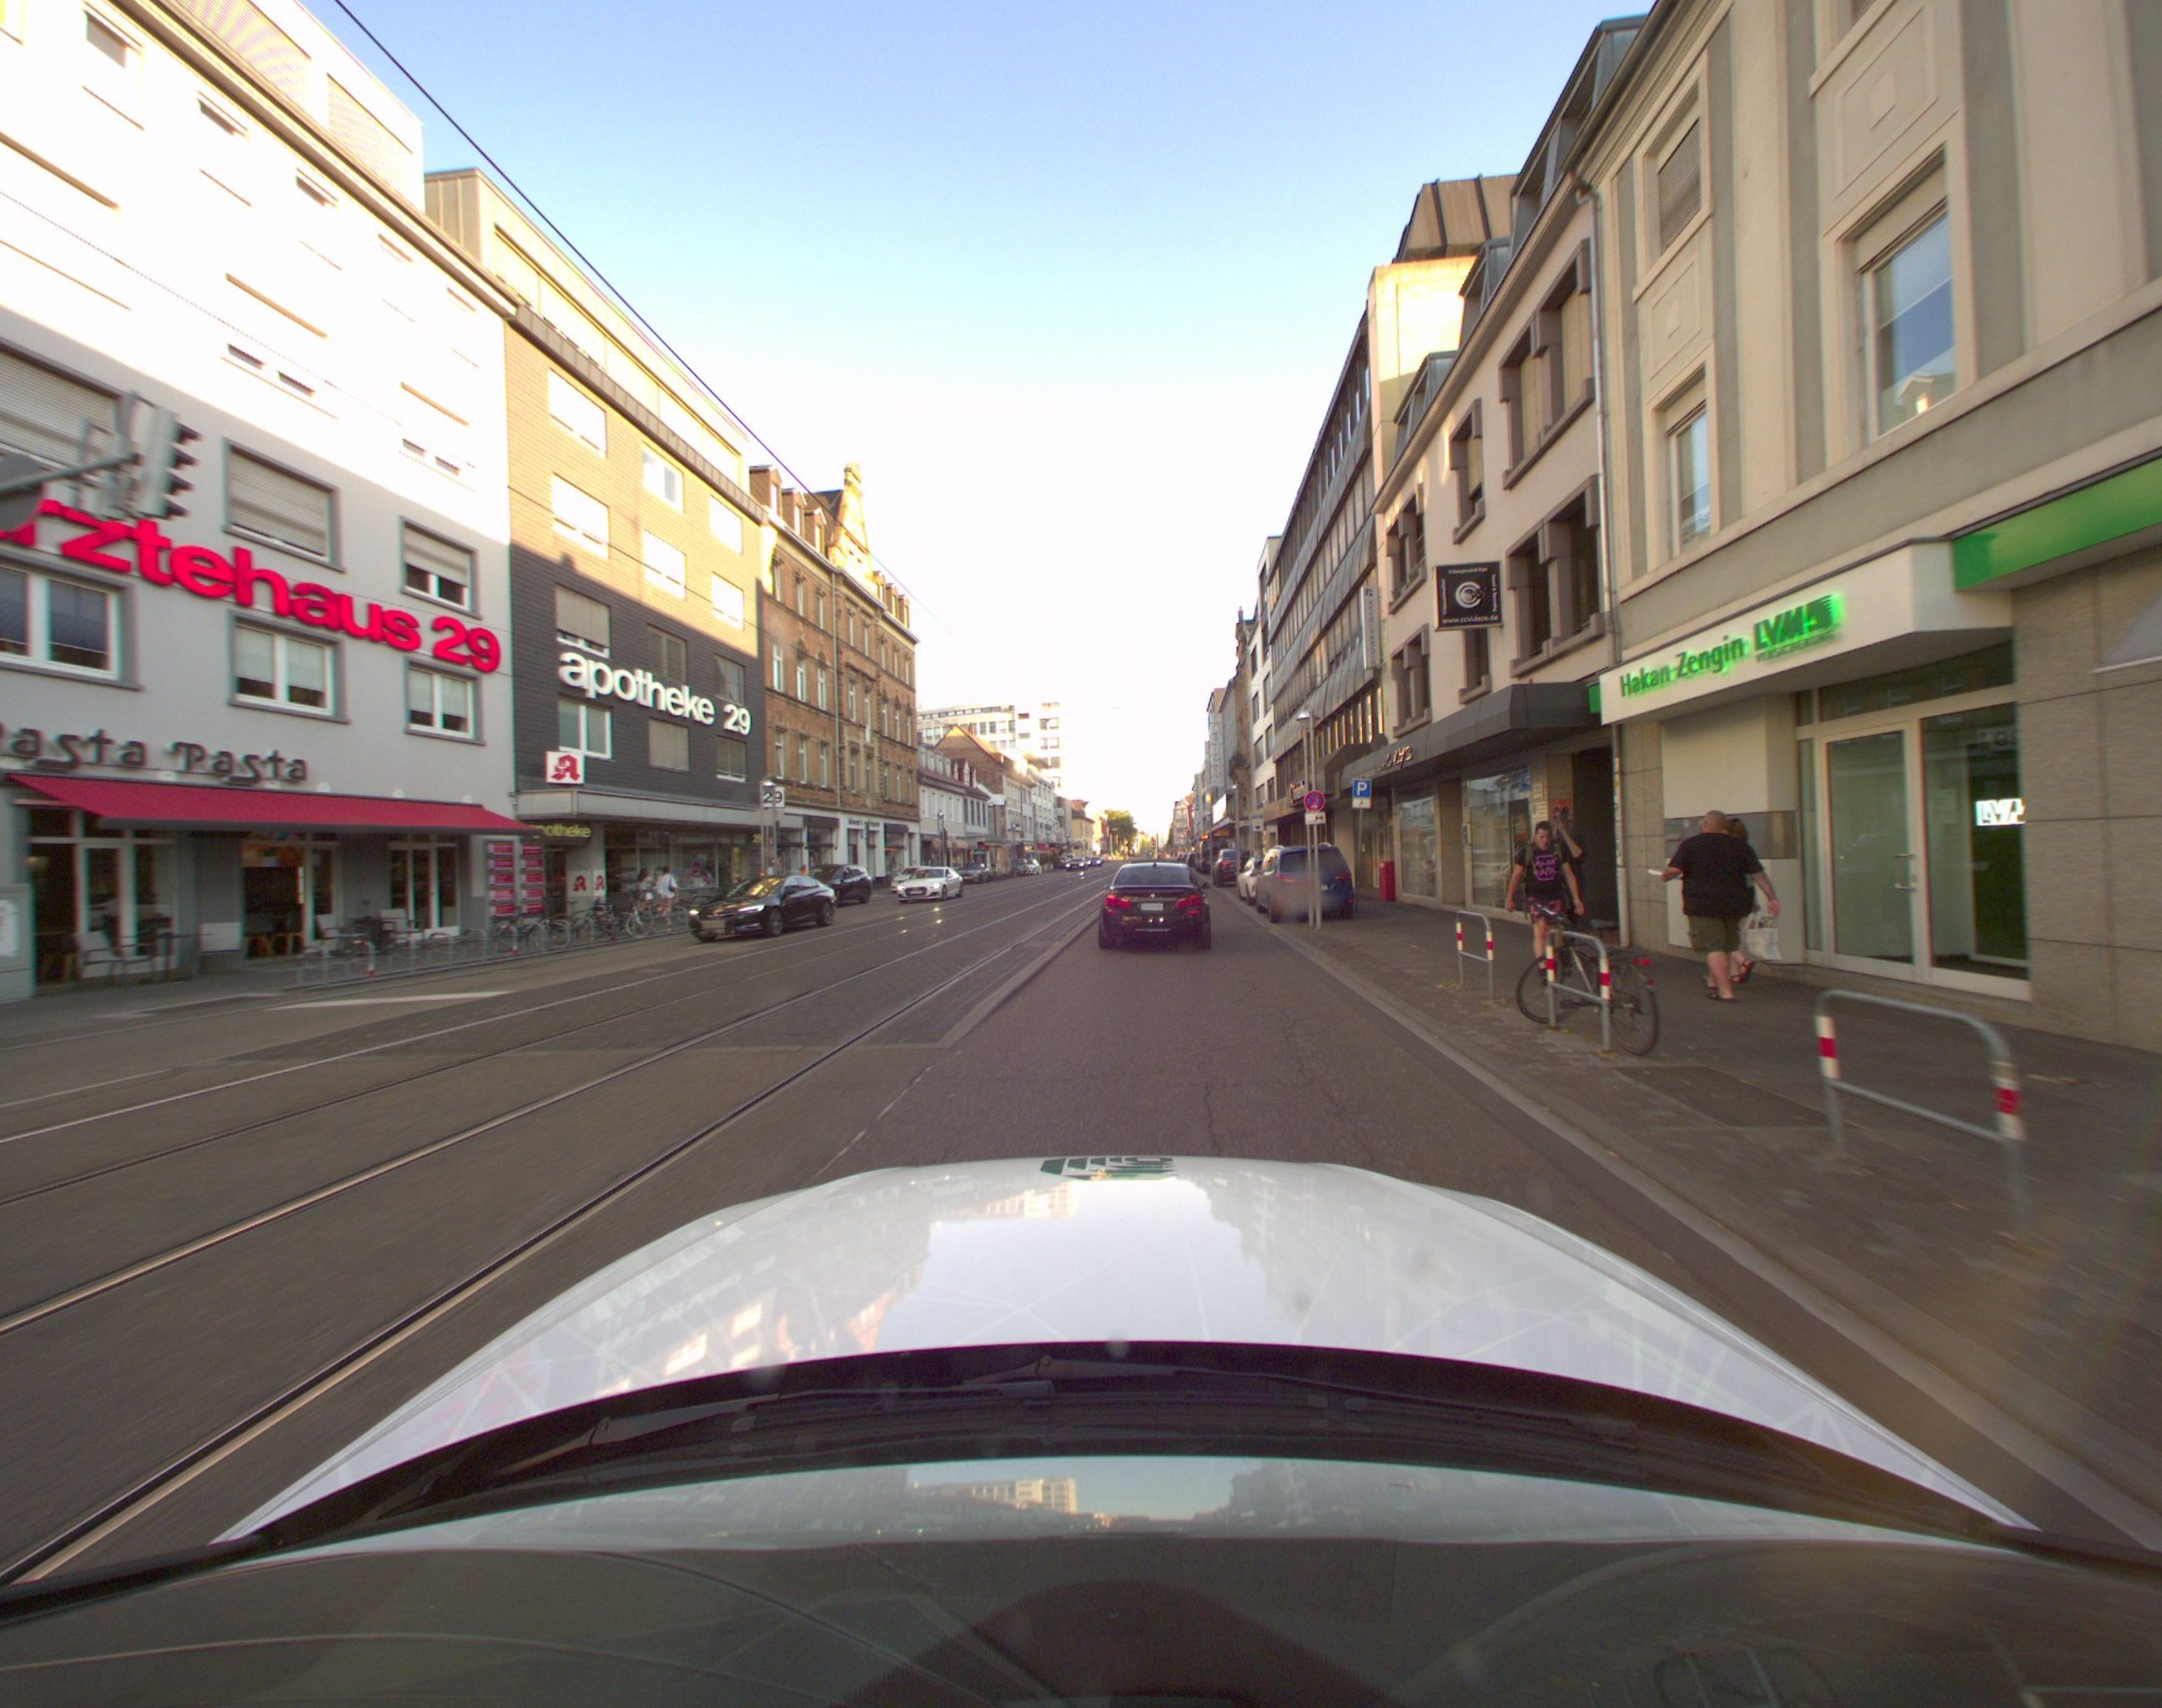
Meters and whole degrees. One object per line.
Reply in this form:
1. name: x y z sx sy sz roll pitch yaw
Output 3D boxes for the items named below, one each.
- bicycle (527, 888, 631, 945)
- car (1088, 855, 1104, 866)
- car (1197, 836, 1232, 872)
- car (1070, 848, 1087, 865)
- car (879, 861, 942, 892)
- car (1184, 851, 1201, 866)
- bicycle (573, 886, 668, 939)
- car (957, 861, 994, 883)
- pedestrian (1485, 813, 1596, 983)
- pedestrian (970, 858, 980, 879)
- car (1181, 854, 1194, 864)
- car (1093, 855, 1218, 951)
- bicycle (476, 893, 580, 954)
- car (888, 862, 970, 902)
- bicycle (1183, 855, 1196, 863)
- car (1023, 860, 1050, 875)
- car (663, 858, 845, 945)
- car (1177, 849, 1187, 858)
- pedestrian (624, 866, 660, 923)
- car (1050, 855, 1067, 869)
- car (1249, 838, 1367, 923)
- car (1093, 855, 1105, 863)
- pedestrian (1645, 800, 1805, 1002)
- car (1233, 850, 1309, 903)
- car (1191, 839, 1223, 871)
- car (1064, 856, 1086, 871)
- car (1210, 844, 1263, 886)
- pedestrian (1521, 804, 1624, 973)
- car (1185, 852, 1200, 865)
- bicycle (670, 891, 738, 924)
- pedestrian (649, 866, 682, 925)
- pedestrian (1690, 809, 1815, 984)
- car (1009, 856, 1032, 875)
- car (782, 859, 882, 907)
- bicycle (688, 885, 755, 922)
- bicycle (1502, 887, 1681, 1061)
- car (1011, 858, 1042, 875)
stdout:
1. bicycle: -11.483 1.421 18.652 2.101 1.224 0.554 0 0 5
2. car: 2.013 0.910 110.564 1.683 1.453 4.473 -2 0 6
3. car: 9.889 0.024 60.885 2.082 2.455 6.042 -3 0 6
4. car: -0.329 0.333 110.806 1.985 2.156 4.914 -2 0 3
5. car: -8.989 1.175 43.330 1.858 1.453 4.619 -2 0 7
6. car: 12.258 0.531 89.580 1.646 1.537 3.892 -3 0 6
7. bicycle: -11.394 1.438 20.161 2.101 1.224 0.554 0 1 5
8. car: -7.199 1.198 55.735 1.590 1.440 3.819 -1 -1 7
9. pedestrian: 5.264 0.484 9.380 0.734 1.828 0.852 -3 -1 4
10. pedestrian: -8.403 1.153 64.512 0.659 1.644 0.695 -1 0 6
11. car: 17.641 0.823 134.889 1.893 1.549 3.786 -1 -1 6
12. car: 1.451 0.810 15.017 1.943 1.498 4.474 -1 -1 7
13. bicycle: -11.706 1.455 17.252 1.881 1.211 0.554 0 0 5
14. car: -6.219 1.093 33.936 1.983 1.453 4.665 -2 0 7
15. bicycle: 15.848 0.774 118.582 1.851 1.080 0.469 -1 -2 7
16. car: -4.397 1.328 81.168 1.983 1.453 4.338 -2 0 7
17. car: -7.738 1.035 19.901 1.983 1.727 4.737 -4 0 7
18. car: 18.559 -0.006 149.265 1.765 1.549 3.508 -1 -1 6
19. pedestrian: -13.160 1.212 24.436 0.679 1.660 0.625 -1 0 5
20. car: -2.822 1.031 102.823 1.859 1.685 4.001 -1 0 2
21. car: 5.382 0.572 19.945 1.983 1.727 4.584 -4 0 6
22. car: 3.497 1.028 159.709 1.919 1.435 4.253 -1 0 6
23. pedestrian: 6.188 0.436 7.894 0.762 1.806 0.930 -3 -1 7
24. car: 5.940 0.654 25.862 1.786 1.433 3.894 -4 0 6
25. car: 10.338 0.064 67.218 2.024 2.455 5.416 -4 0 5
26. car: -0.569 0.973 87.381 1.985 1.453 4.653 -2 0 3
27. car: 7.139 0.481 37.851 1.983 1.727 4.573 -4 0 6
28. pedestrian: 5.914 0.402 9.843 0.658 1.928 0.880 -3 -1 4
29. car: 12.911 0.522 94.508 1.552 1.442 3.715 -4 0 6
30. bicycle: -10.937 1.547 23.623 1.796 0.912 0.457 0 1 5
31. pedestrian: -12.423 1.230 24.348 0.617 1.699 0.603 -1 0 5
32. pedestrian: 6.975 0.427 8.495 0.646 1.718 0.680 -4 -1 7
33. car: -5.314 1.027 71.528 1.469 1.577 2.799 -2 0 6
34. car: -9.671 1.093 32.103 1.919 1.674 4.657 -1 0 8
35. bicycle: -10.785 1.476 24.449 1.822 1.047 0.490 0 1 5
36. bicycle: 3.972 0.872 6.467 0.531 1.147 1.492 -2 0 4
37. car: -5.027 1.183 76.201 1.983 1.453 4.831 -2 0 7
